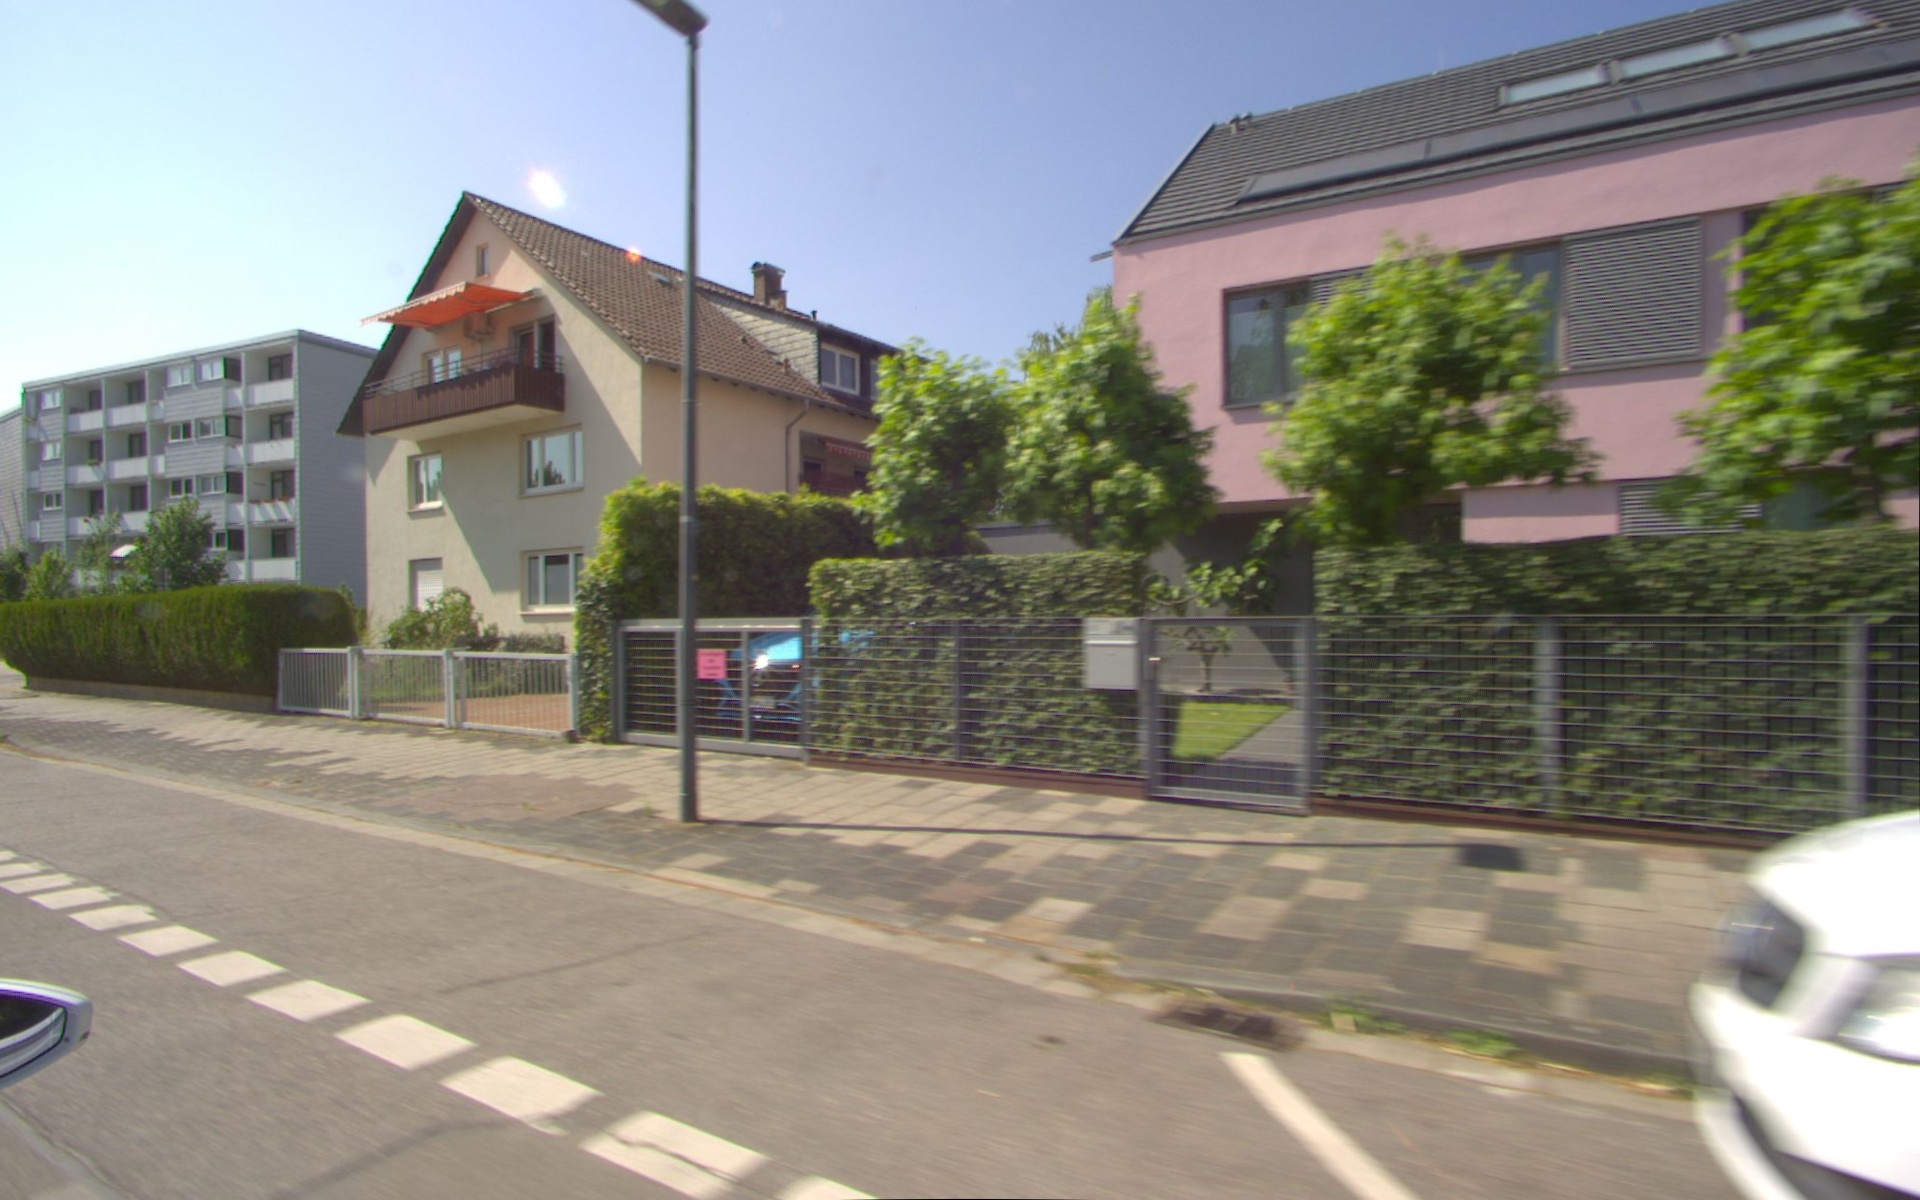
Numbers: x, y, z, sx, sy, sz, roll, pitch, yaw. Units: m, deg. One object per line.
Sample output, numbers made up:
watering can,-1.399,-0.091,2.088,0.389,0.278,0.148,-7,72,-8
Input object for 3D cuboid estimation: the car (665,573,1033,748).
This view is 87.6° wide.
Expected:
car,-1.089,0.649,12.600,1.949,1.728,5.079,-1,-1,31

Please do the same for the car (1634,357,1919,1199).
car,3.666,0.523,1.279,4.532,1.849,1.760,-2,-3,32
